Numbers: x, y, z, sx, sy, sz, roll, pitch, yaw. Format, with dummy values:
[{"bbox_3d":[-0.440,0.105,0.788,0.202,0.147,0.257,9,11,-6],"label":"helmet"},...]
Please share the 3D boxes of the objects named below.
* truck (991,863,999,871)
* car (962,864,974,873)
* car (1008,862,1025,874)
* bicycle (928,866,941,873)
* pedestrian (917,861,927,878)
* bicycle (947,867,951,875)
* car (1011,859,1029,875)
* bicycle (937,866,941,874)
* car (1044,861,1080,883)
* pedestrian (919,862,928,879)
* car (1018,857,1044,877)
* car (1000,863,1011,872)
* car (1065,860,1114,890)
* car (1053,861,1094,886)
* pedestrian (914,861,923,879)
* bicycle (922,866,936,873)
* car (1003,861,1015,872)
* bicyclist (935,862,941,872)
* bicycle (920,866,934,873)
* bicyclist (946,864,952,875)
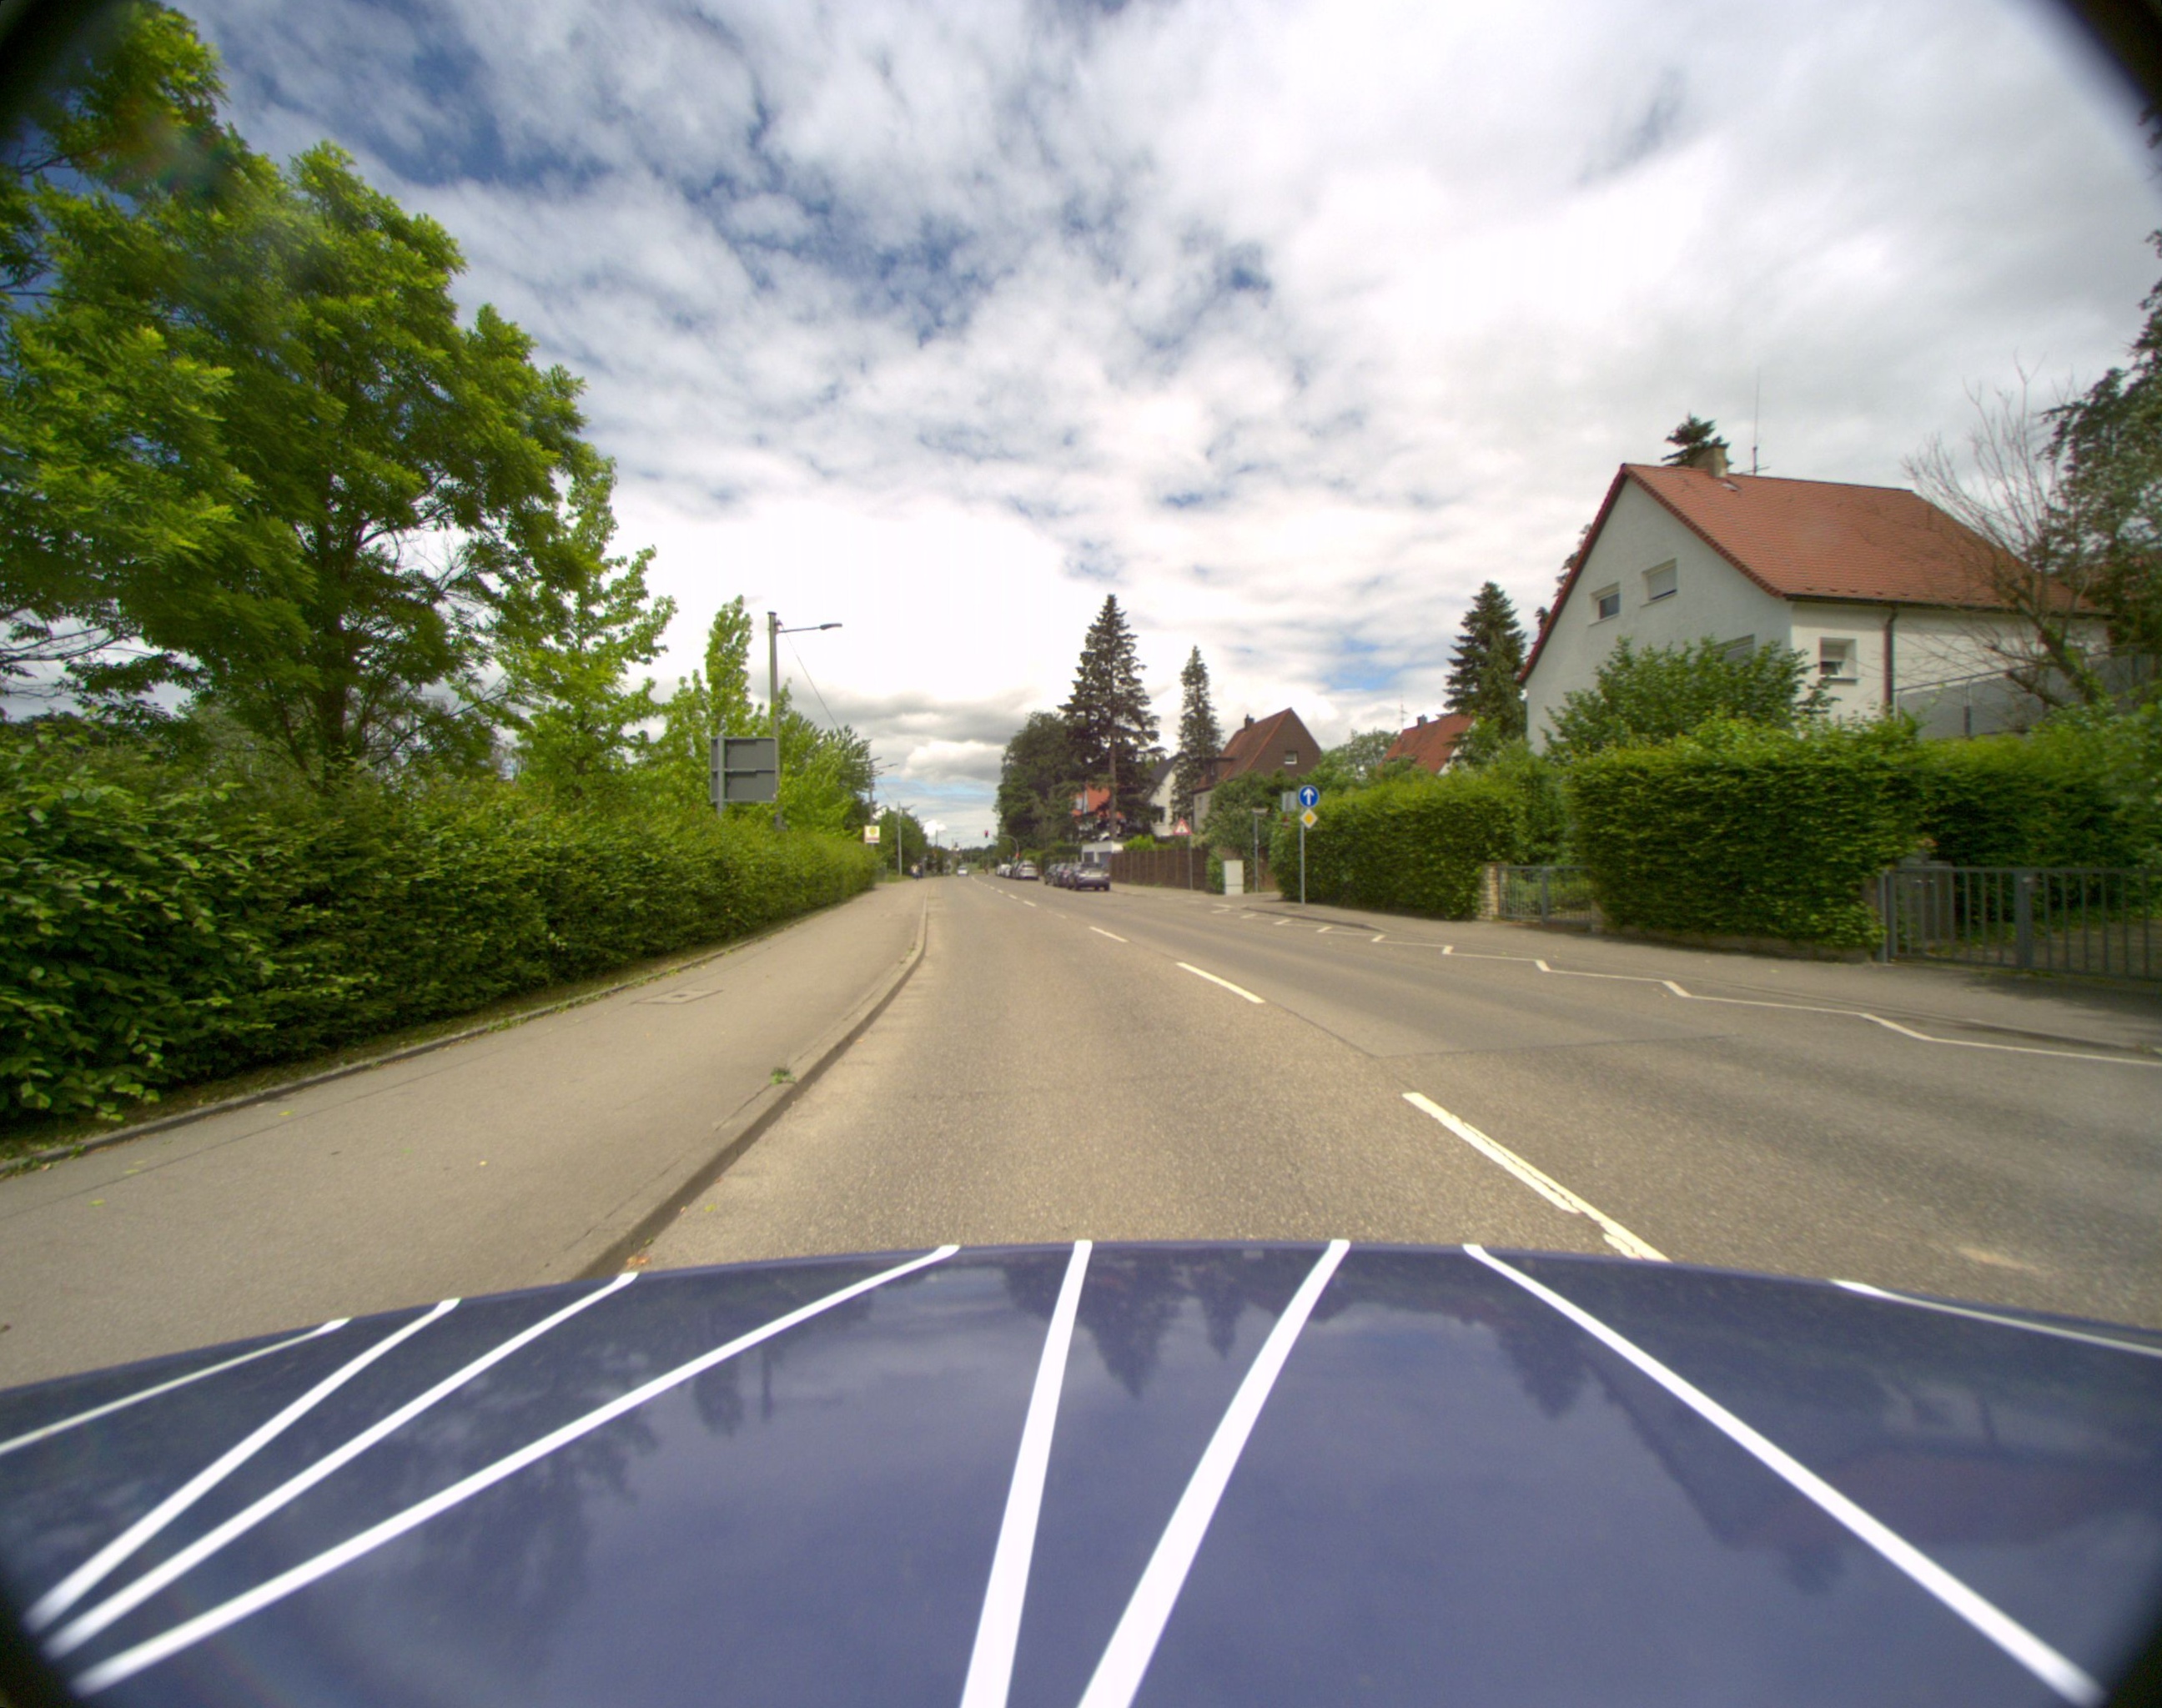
[{"bbox_3d":[-24.791,3.715,218.295,2.196,2.357,6.901,0,-1,-7],"label":"truck"},{"bbox_3d":[-17.876,2.337,120.388,1.667,1.394,3.897,-1,-1,-7],"label":"car"},{"bbox_3d":[-7.652,1.667,90.144,1.811,1.450,5.066,1,-1,-7],"label":"car"},{"bbox_3d":[-25.075,2.661,129.880,2.208,1.041,0.451,-1,0,-9],"label":"bicycle"},{"bbox_3d":[-15.772,1.513,75.357,0.842,1.649,0.766,-2,0,-4],"label":"pedestrian"},{"bbox_3d":[-19.865,2.551,114.103,0.451,1.278,2.206,-3,0,-12],"label":"bicycle"},{"bbox_3d":[-6.744,1.480,83.601,1.632,1.668,4.581,1,-1,-9],"label":"car"},{"bbox_3d":[-21.193,2.382,113.223,0.451,1.142,2.206,-1,0,-8],"label":"bicycle"},{"bbox_3d":[-1.310,1.224,51.197,1.657,1.418,3.901,0,-1,-14],"label":"car"},{"bbox_3d":[-17.992,1.896,86.908,0.747,1.871,0.801,-2,0,-2],"label":"pedestrian"},{"bbox_3d":[-4.763,1.223,71.497,1.991,1.808,4.704,-1,-1,-9],"label":"car"},{"bbox_3d":[-12.041,2.157,121.426,1.709,1.444,4.356,2,-1,-4],"label":"car"},{"bbox_3d":[0.396,1.088,40.901,2.000,1.470,4.644,0,0,-7],"label":"car"},{"bbox_3d":[-0.521,1.148,46.119,1.873,1.450,4.485,-1,0,-8],"label":"car"},{"bbox_3d":[-14.895,1.468,69.738,0.688,1.649,0.690,-2,0,-4],"label":"pedestrian"},{"bbox_3d":[-24.594,2.535,122.819,2.094,1.041,0.559,-4,0,-5],"label":"bicycle"},{"bbox_3d":[-11.047,1.931,116.480,1.682,1.747,4.605,1,-1,-8],"label":"car"},{"bbox_3d":[-21.242,1.928,113.164,0.827,1.529,0.861,-1,0,-8],"label":"bicyclist"},{"bbox_3d":[-24.549,2.452,121.409,2.094,1.074,0.546,0,0,-5],"label":"bicycle"},{"bbox_3d":[-19.774,2.335,113.910,0.827,1.529,0.861,-2,0,-10],"label":"bicyclist"}]
